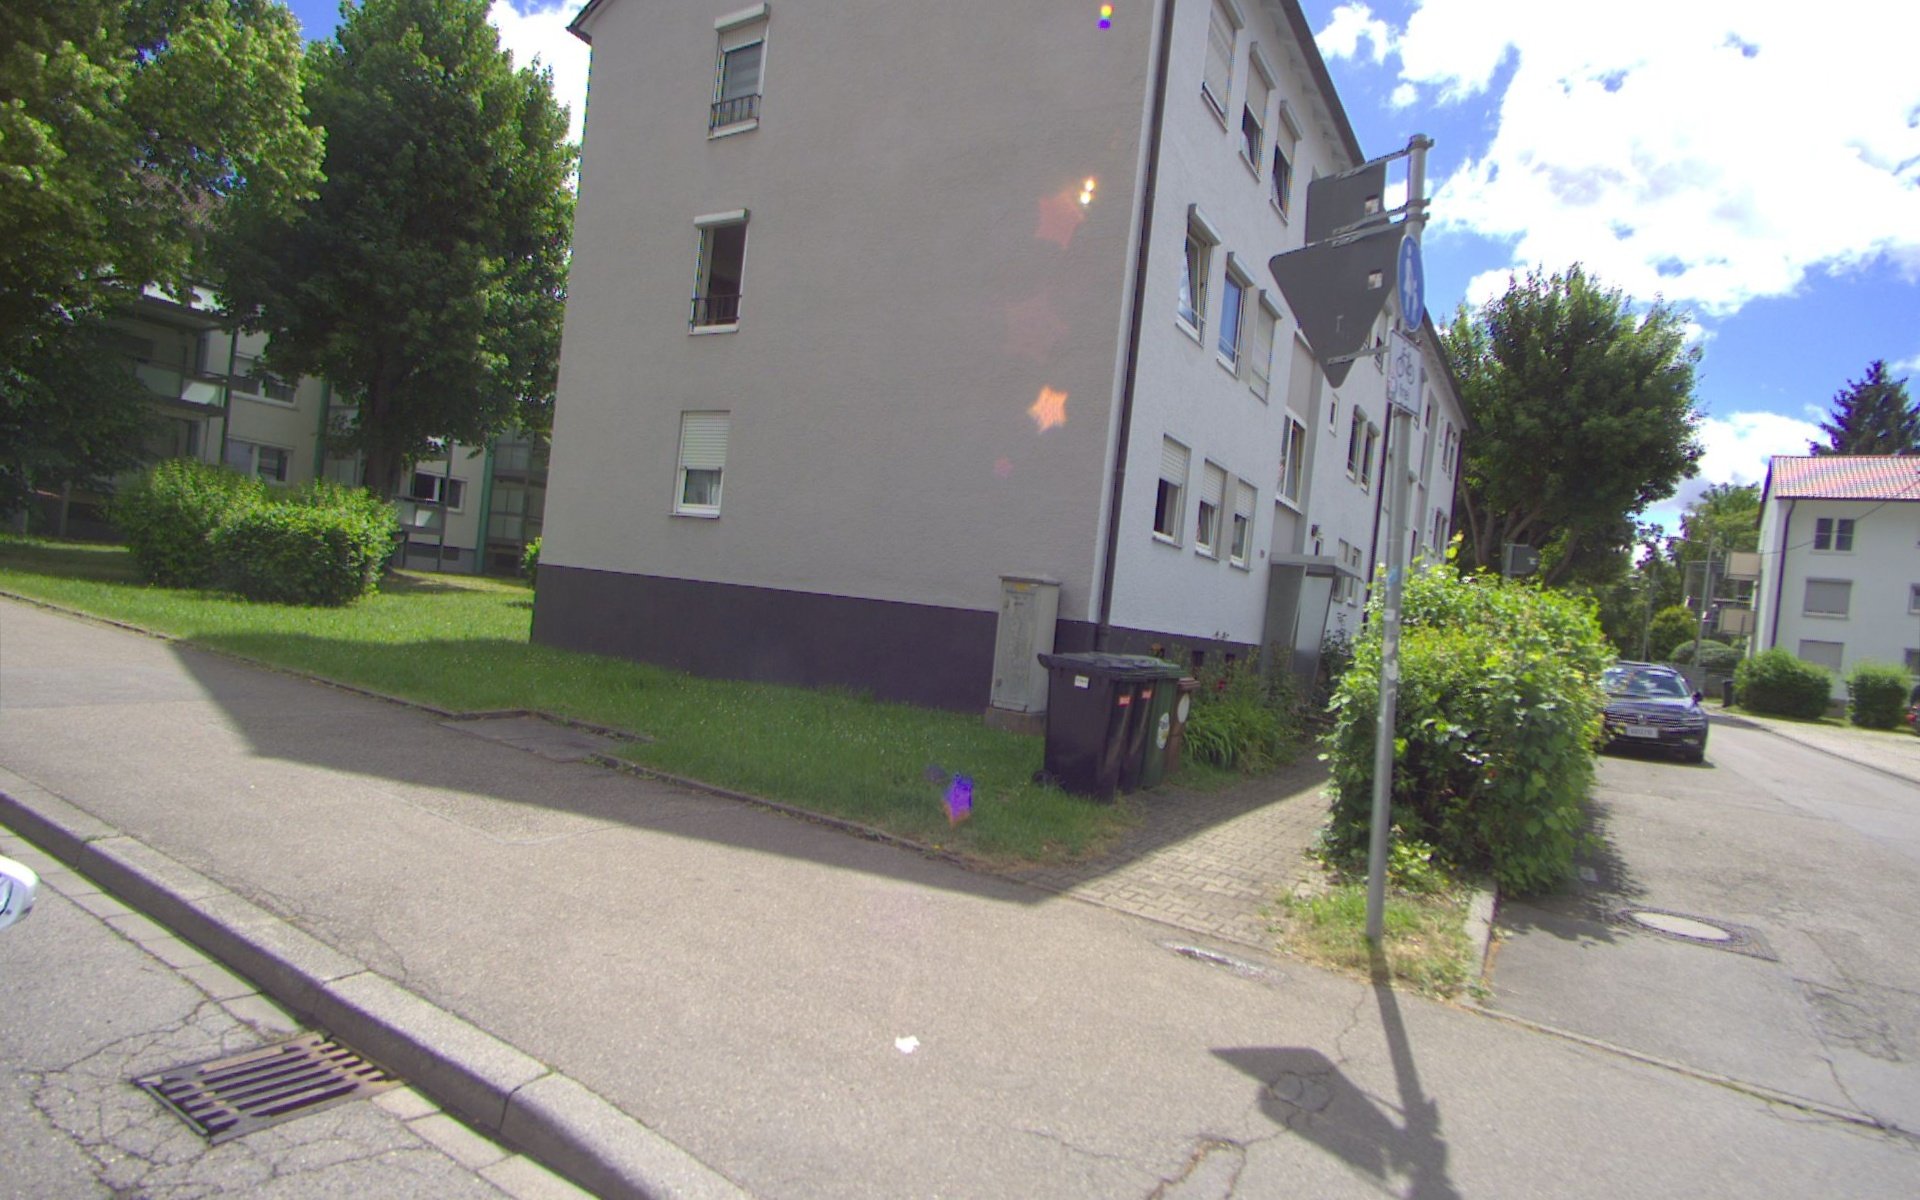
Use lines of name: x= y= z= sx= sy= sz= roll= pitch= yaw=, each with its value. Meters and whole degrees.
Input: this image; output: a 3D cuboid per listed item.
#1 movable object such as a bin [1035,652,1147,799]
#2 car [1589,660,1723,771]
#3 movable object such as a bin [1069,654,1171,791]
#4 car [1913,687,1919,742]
movable object such as a bin: x=0.967 y=0.898 z=7.392 sx=0.570 sy=0.967 sz=0.496 roll=7 pitch=2 yaw=31
car: x=11.615 y=1.833 z=16.928 sx=1.547 sy=1.457 sz=3.726 roll=7 pitch=1 yaw=33
movable object such as a bin: x=1.247 y=0.929 z=7.831 sx=0.542 sy=0.959 sz=0.500 roll=7 pitch=2 yaw=31
car: x=27.297 y=3.240 z=25.614 sx=4.011 sy=1.502 sz=1.624 roll=7 pitch=2 yaw=32
